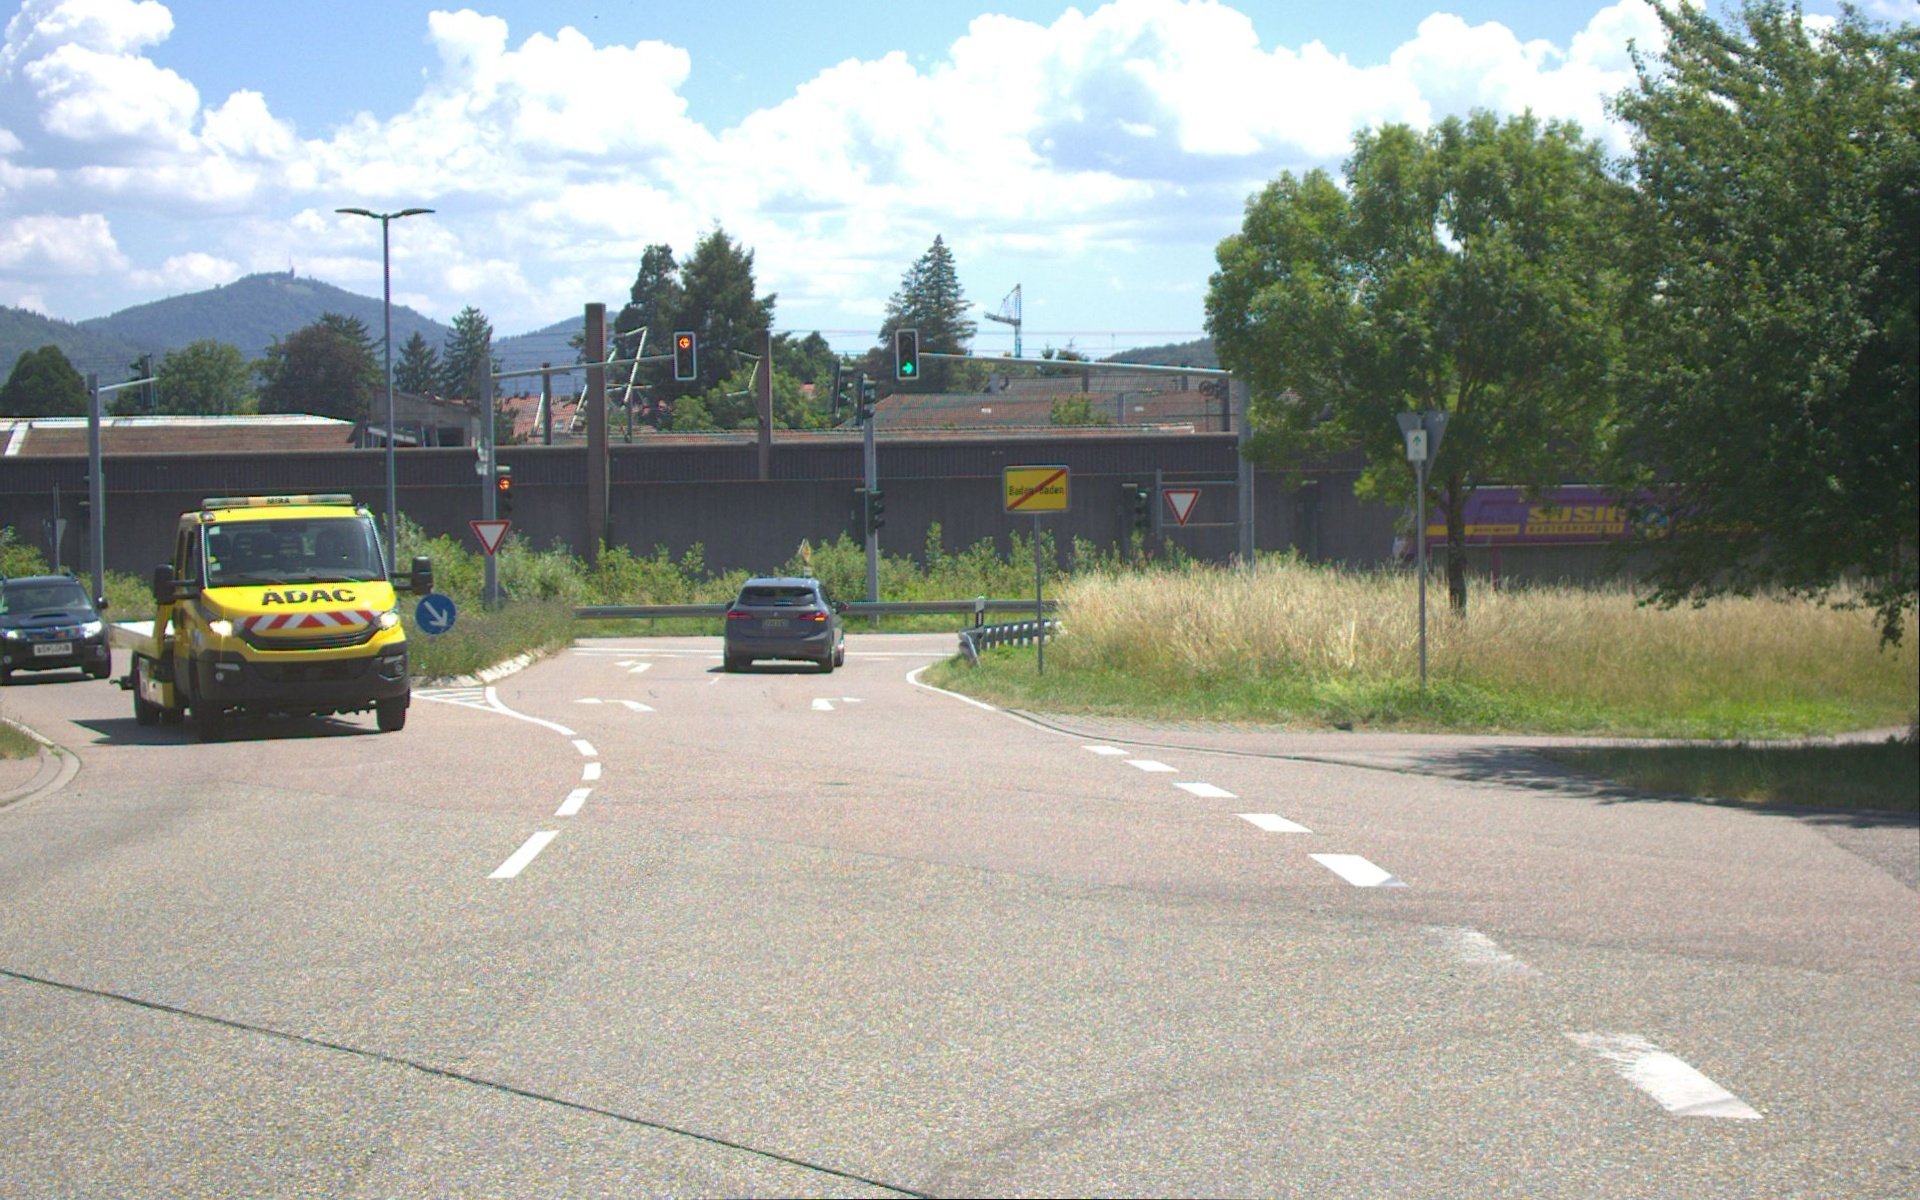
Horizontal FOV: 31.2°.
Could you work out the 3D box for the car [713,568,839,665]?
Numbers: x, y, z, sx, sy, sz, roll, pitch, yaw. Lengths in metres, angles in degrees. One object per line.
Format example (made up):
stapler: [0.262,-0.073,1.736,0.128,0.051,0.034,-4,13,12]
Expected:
car: [-3.069,0.247,58.051,1.993,1.498,4.000,1,1,-2]

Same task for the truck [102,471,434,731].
truck: [-7.501,0.030,36.319,2.310,2.329,9.053,-3,0,-18]

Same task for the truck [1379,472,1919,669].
truck: [15.156,-0.636,74.635,11.769,4.166,3.005,0,0,2]

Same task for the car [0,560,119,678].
car: [-14.578,0.272,54.738,1.901,1.696,4.001,-2,2,-19]
